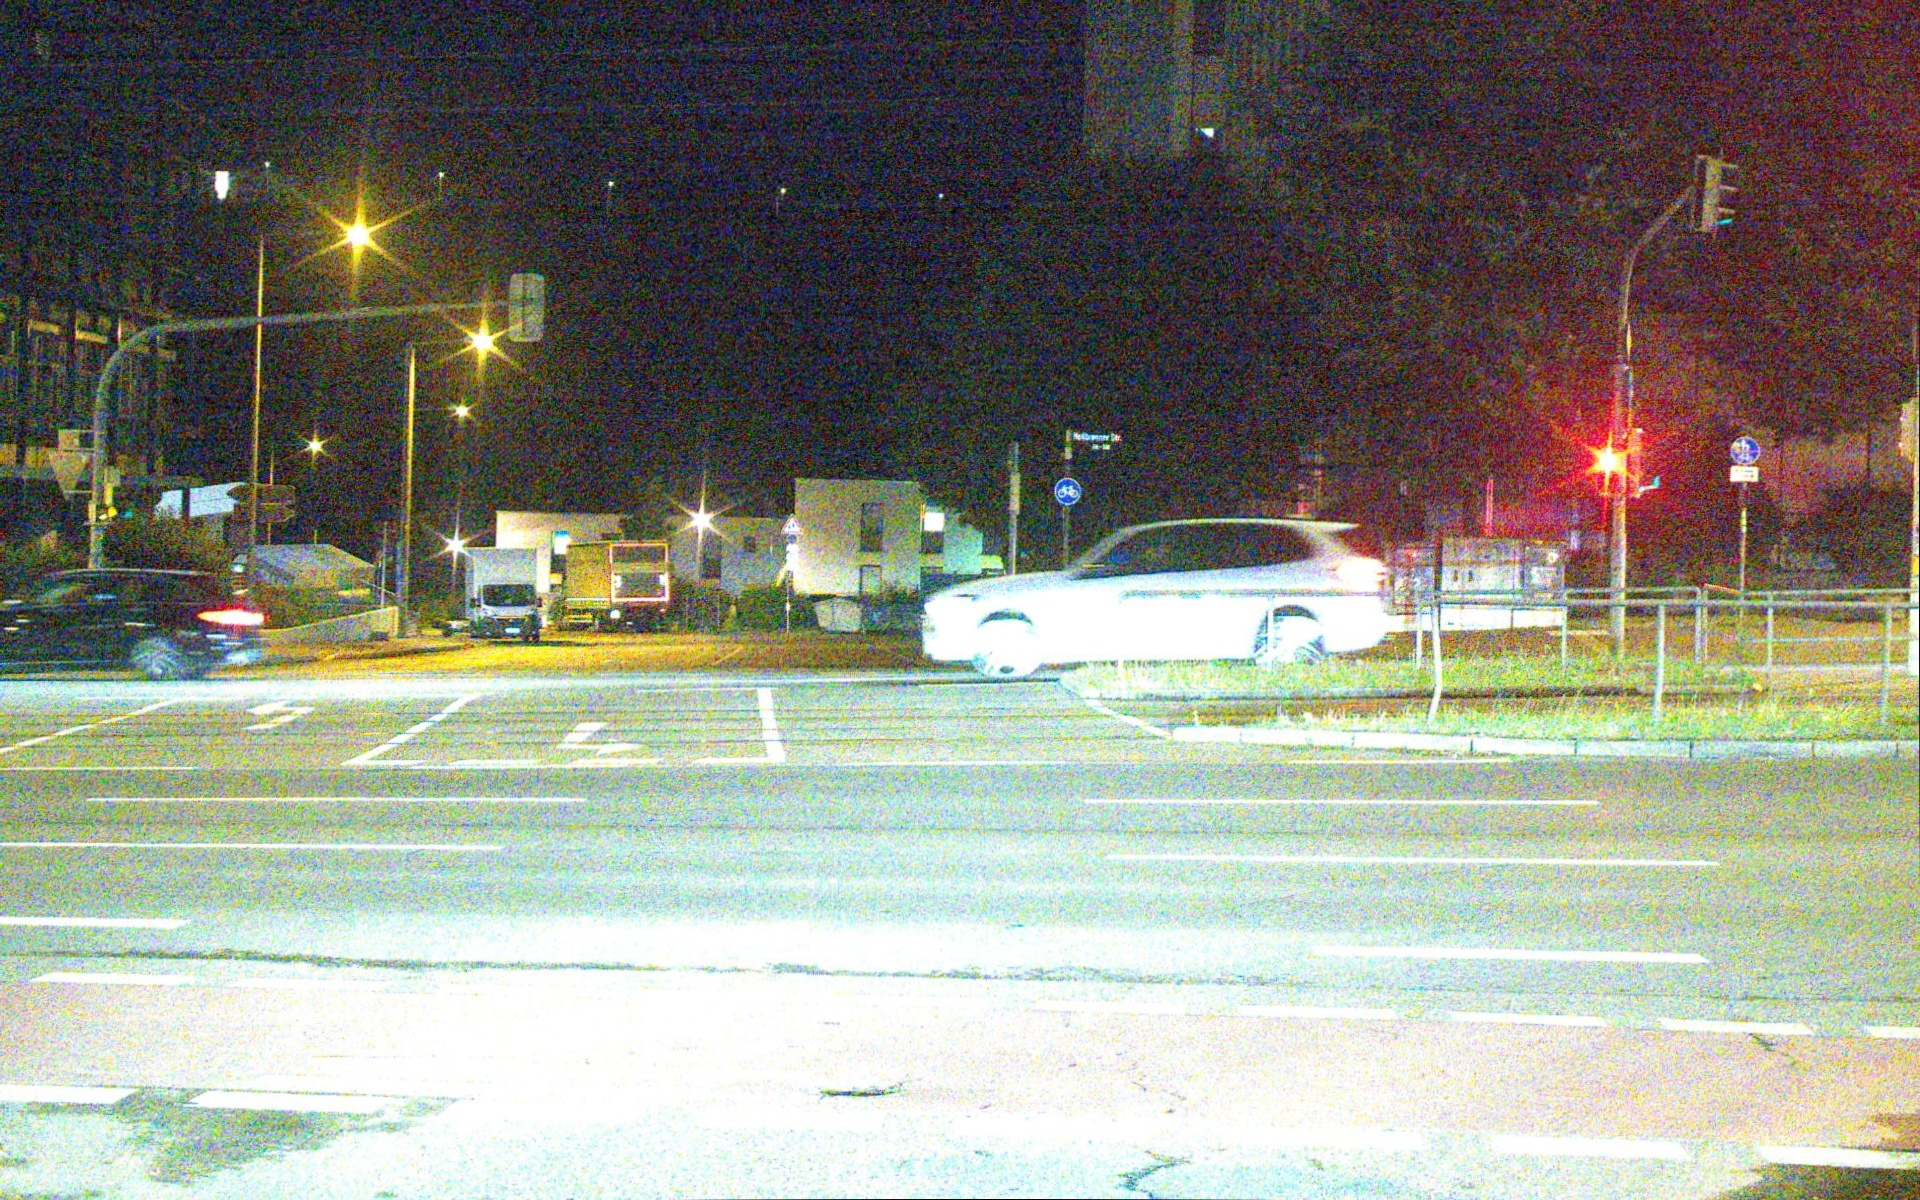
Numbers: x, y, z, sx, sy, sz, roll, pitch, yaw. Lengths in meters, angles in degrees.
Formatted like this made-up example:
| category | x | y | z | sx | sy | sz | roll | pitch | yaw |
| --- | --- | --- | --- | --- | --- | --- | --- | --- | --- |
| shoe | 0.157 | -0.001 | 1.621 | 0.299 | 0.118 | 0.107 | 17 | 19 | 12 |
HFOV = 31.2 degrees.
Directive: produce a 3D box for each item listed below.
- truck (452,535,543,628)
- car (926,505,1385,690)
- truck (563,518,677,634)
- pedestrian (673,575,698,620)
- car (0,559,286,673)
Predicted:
| category | x | y | z | sx | sy | sz | roll | pitch | yaw |
| --- | --- | --- | --- | --- | --- | --- | --- | --- | --- |
| truck | -16.145 | -0.636 | 119.757 | 2.417 | 3.078 | 6.439 | 1 | 0 | -14 |
| car | 2.097 | -0.025 | 37.091 | 4.780 | 1.838 | 1.843 | 1 | 0 | 3 |
| truck | -14.781 | -1.004 | 148.852 | 3.359 | 4.826 | 7.908 | 1 | 0 | -17 |
| pedestrian | -11.785 | -0.114 | 147.676 | 0.849 | 1.905 | 1.007 | 1 | 0 | -18 |
| car | -11.000 | 0.209 | 43.991 | 4.327 | 1.383 | 1.843 | -1 | 0 | 3 |
